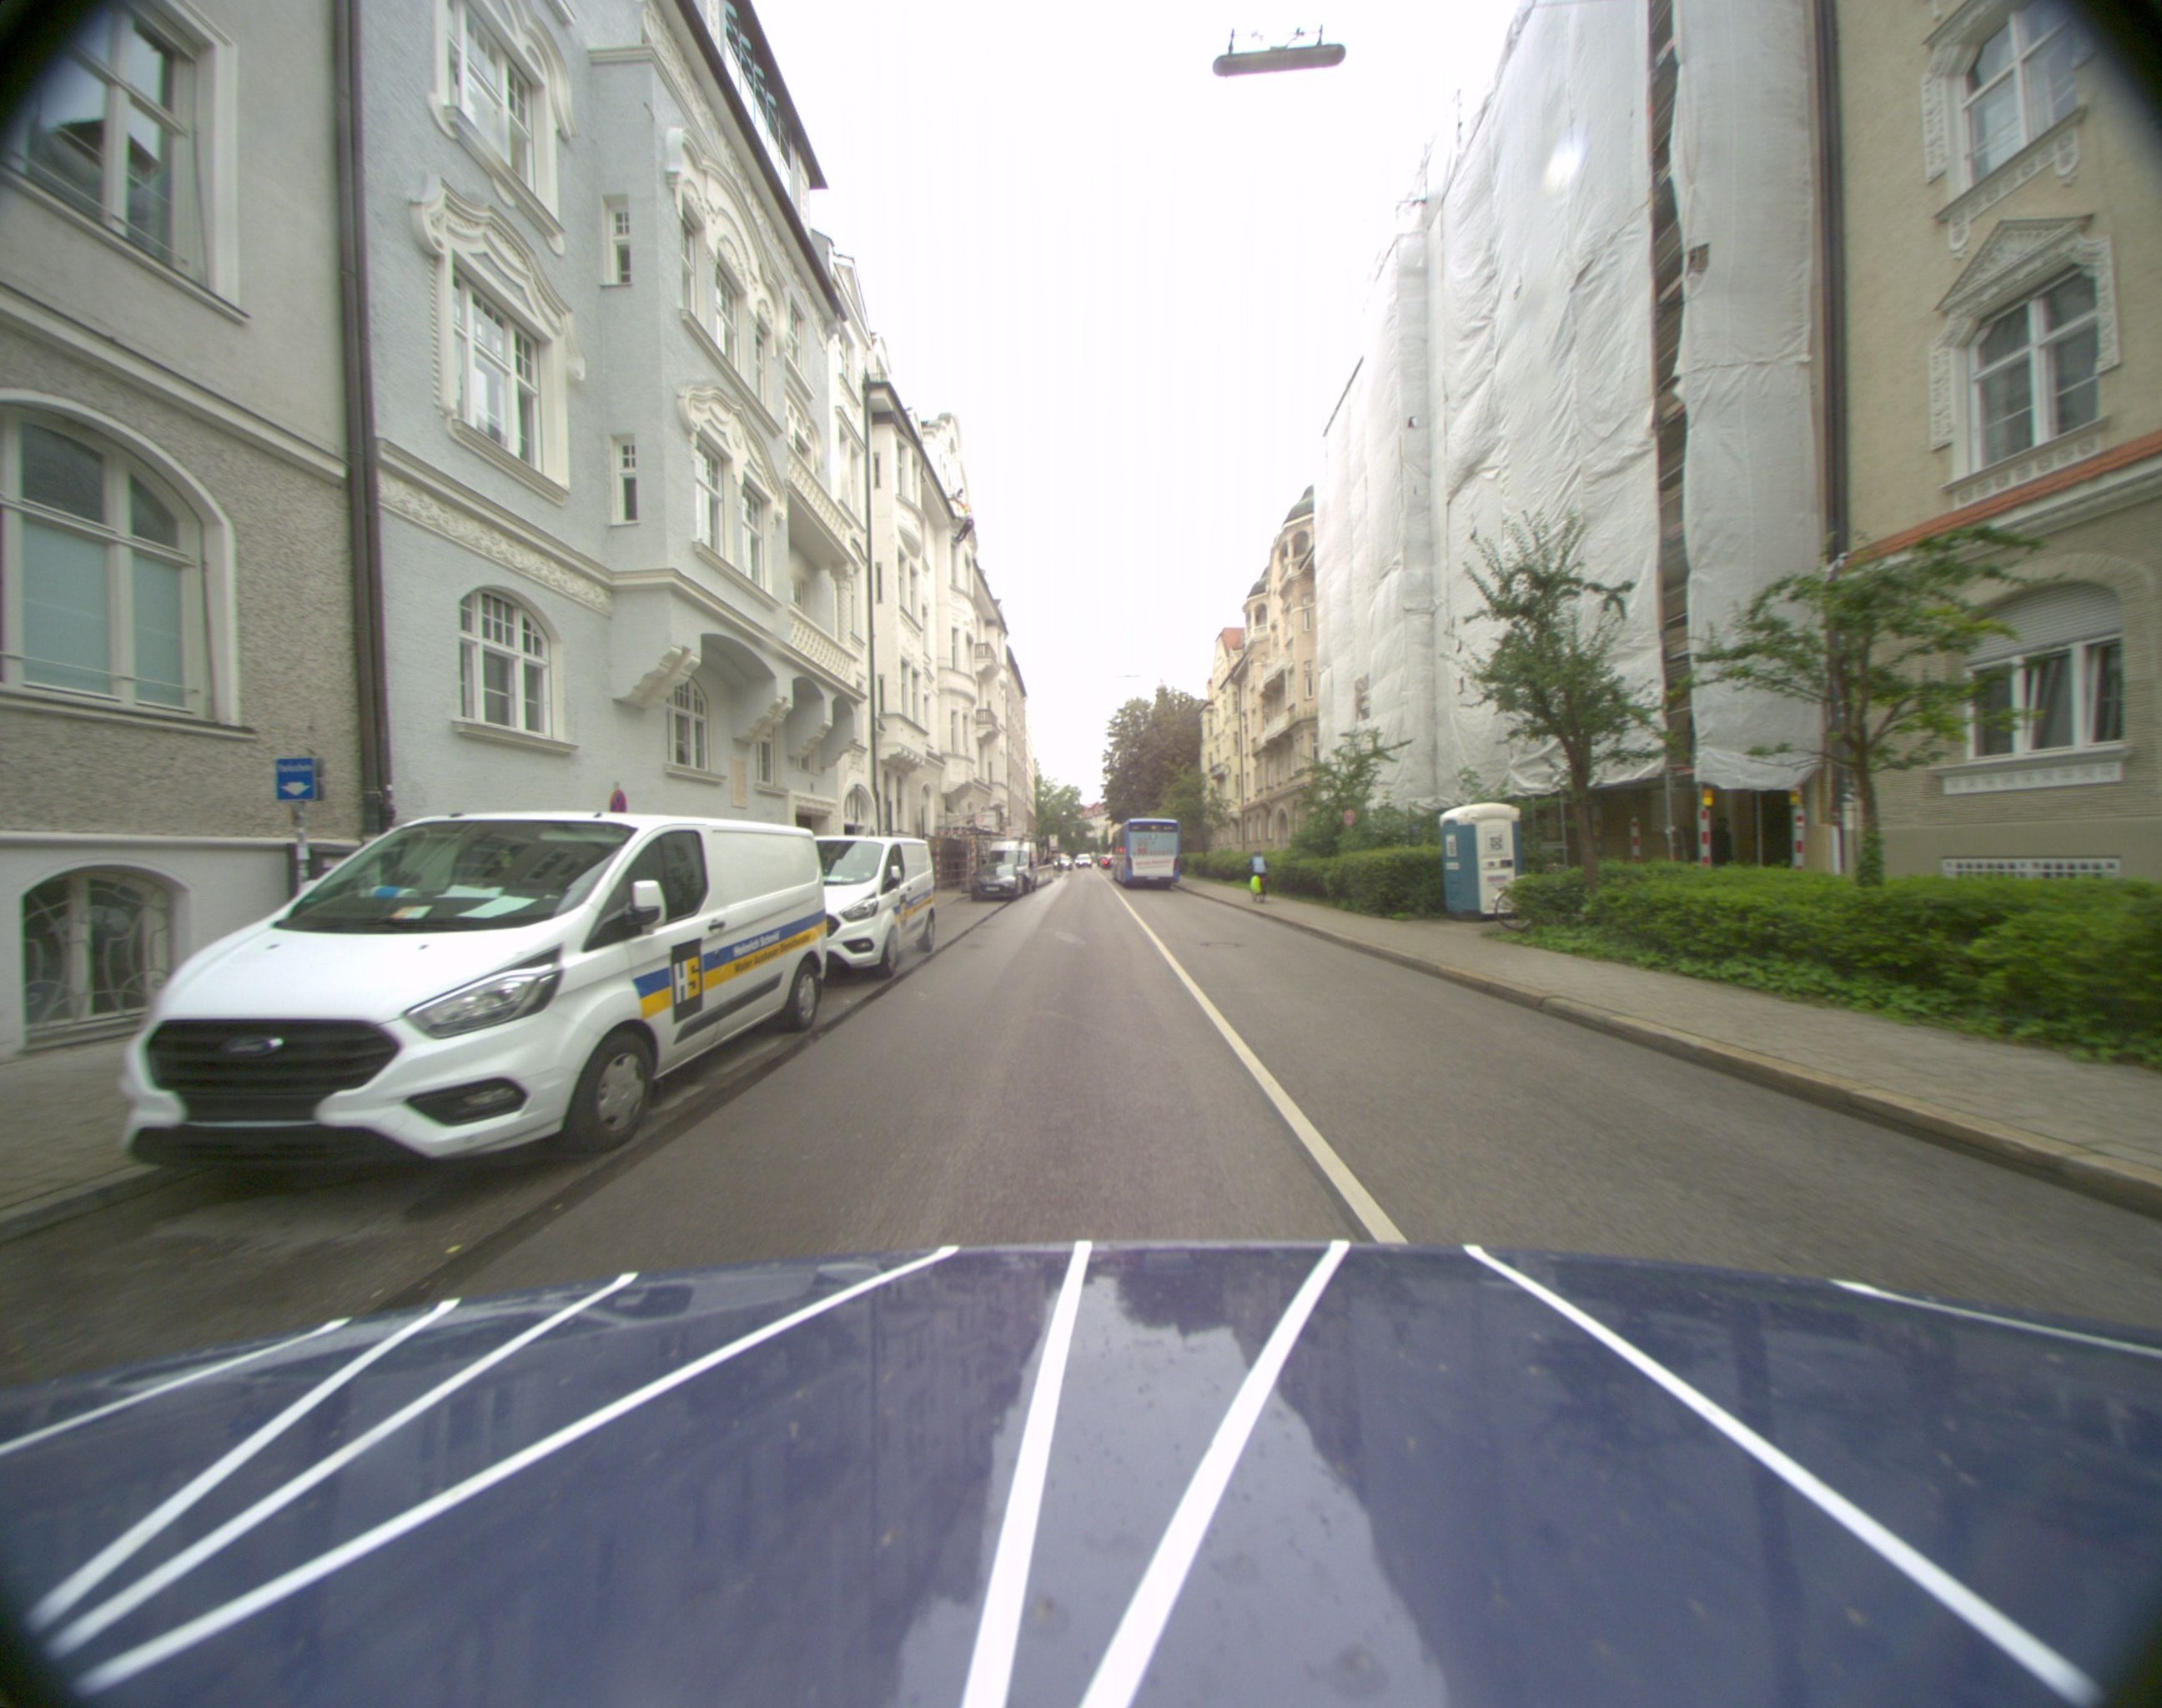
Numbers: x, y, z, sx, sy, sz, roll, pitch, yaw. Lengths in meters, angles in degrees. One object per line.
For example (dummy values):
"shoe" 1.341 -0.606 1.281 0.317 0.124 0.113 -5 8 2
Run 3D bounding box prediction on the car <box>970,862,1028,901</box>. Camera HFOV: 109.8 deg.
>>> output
"car" -3.210 1.051 30.601 1.792 1.399 4.244 -1 0 1

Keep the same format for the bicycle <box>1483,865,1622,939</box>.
"bicycle" 8.077 0.814 13.080 1.864 1.071 0.690 -6 0 2

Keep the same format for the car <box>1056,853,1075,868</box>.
"car" -1.782 0.737 89.497 1.723 1.622 4.001 -1 0 5

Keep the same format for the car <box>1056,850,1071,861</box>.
"car" -2.489 0.192 110.412 1.723 1.622 4.001 -1 0 5

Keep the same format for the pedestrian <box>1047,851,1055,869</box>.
"pedestrian" -3.207 0.639 81.296 0.826 1.849 0.820 -2 0 -1

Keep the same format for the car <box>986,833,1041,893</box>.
"car" -3.153 0.388 36.732 2.082 2.673 5.445 0 0 1

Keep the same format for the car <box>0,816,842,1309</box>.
"car" -3.533 0.822 5.418 1.998 1.907 4.886 -1 0 1

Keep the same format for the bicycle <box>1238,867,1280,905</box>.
"bicycle" 5.582 0.985 23.977 0.770 1.075 2.050 -3 0 -1

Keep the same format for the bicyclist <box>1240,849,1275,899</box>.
"bicyclist" 5.555 0.617 23.949 0.770 1.484 1.060 -3 0 -1

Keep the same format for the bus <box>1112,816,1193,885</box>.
"bus" 3.673 -0.182 44.193 3.179 3.193 18.056 0 0 0

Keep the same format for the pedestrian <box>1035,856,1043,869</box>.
"pedestrian" -4.533 0.900 81.807 0.837 1.399 0.866 -1 1 -3

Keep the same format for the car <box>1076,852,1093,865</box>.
"car" 0.463 0.574 100.529 1.918 1.648 4.602 -1 0 4

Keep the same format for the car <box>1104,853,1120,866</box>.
"car" 3.576 0.650 87.151 1.723 1.398 4.001 -1 0 5

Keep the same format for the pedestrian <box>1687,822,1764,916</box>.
"pedestrian" 12.452 0.277 14.692 0.771 1.736 0.773 -3 1 -1

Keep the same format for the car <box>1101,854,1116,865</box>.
"car" 3.625 0.759 100.216 1.723 1.398 4.001 -1 0 5

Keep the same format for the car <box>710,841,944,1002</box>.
"car" -3.515 0.813 11.653 1.999 1.907 4.877 -1 0 -1
